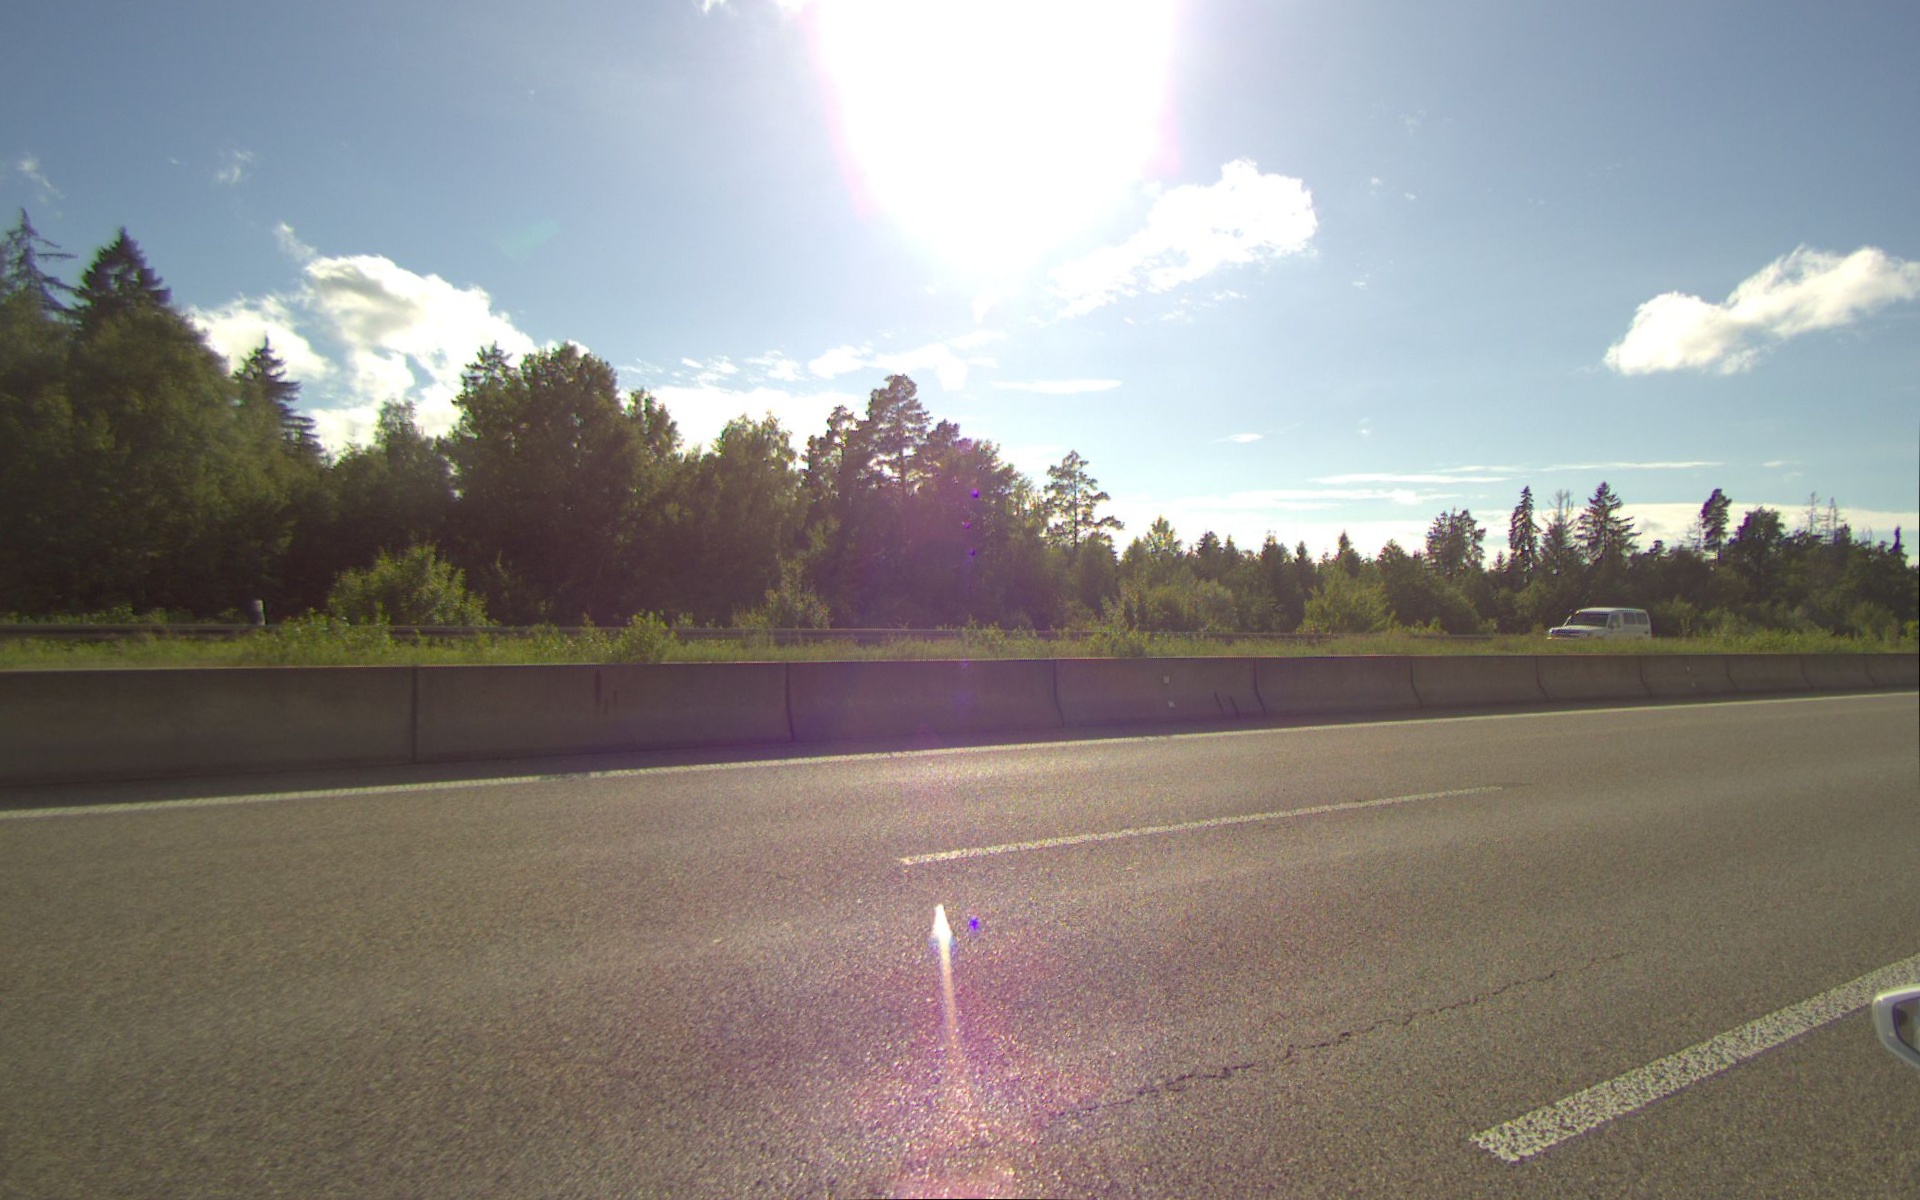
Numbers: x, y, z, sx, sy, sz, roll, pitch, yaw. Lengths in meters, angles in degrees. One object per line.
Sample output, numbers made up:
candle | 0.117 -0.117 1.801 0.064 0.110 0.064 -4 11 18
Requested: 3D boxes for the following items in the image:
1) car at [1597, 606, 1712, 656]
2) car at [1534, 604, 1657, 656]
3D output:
car | 30.297 1.337 43.783 5.322 2.040 1.984 1 0 -30
car | 26.289 1.235 41.505 5.322 2.040 1.984 1 0 -30
